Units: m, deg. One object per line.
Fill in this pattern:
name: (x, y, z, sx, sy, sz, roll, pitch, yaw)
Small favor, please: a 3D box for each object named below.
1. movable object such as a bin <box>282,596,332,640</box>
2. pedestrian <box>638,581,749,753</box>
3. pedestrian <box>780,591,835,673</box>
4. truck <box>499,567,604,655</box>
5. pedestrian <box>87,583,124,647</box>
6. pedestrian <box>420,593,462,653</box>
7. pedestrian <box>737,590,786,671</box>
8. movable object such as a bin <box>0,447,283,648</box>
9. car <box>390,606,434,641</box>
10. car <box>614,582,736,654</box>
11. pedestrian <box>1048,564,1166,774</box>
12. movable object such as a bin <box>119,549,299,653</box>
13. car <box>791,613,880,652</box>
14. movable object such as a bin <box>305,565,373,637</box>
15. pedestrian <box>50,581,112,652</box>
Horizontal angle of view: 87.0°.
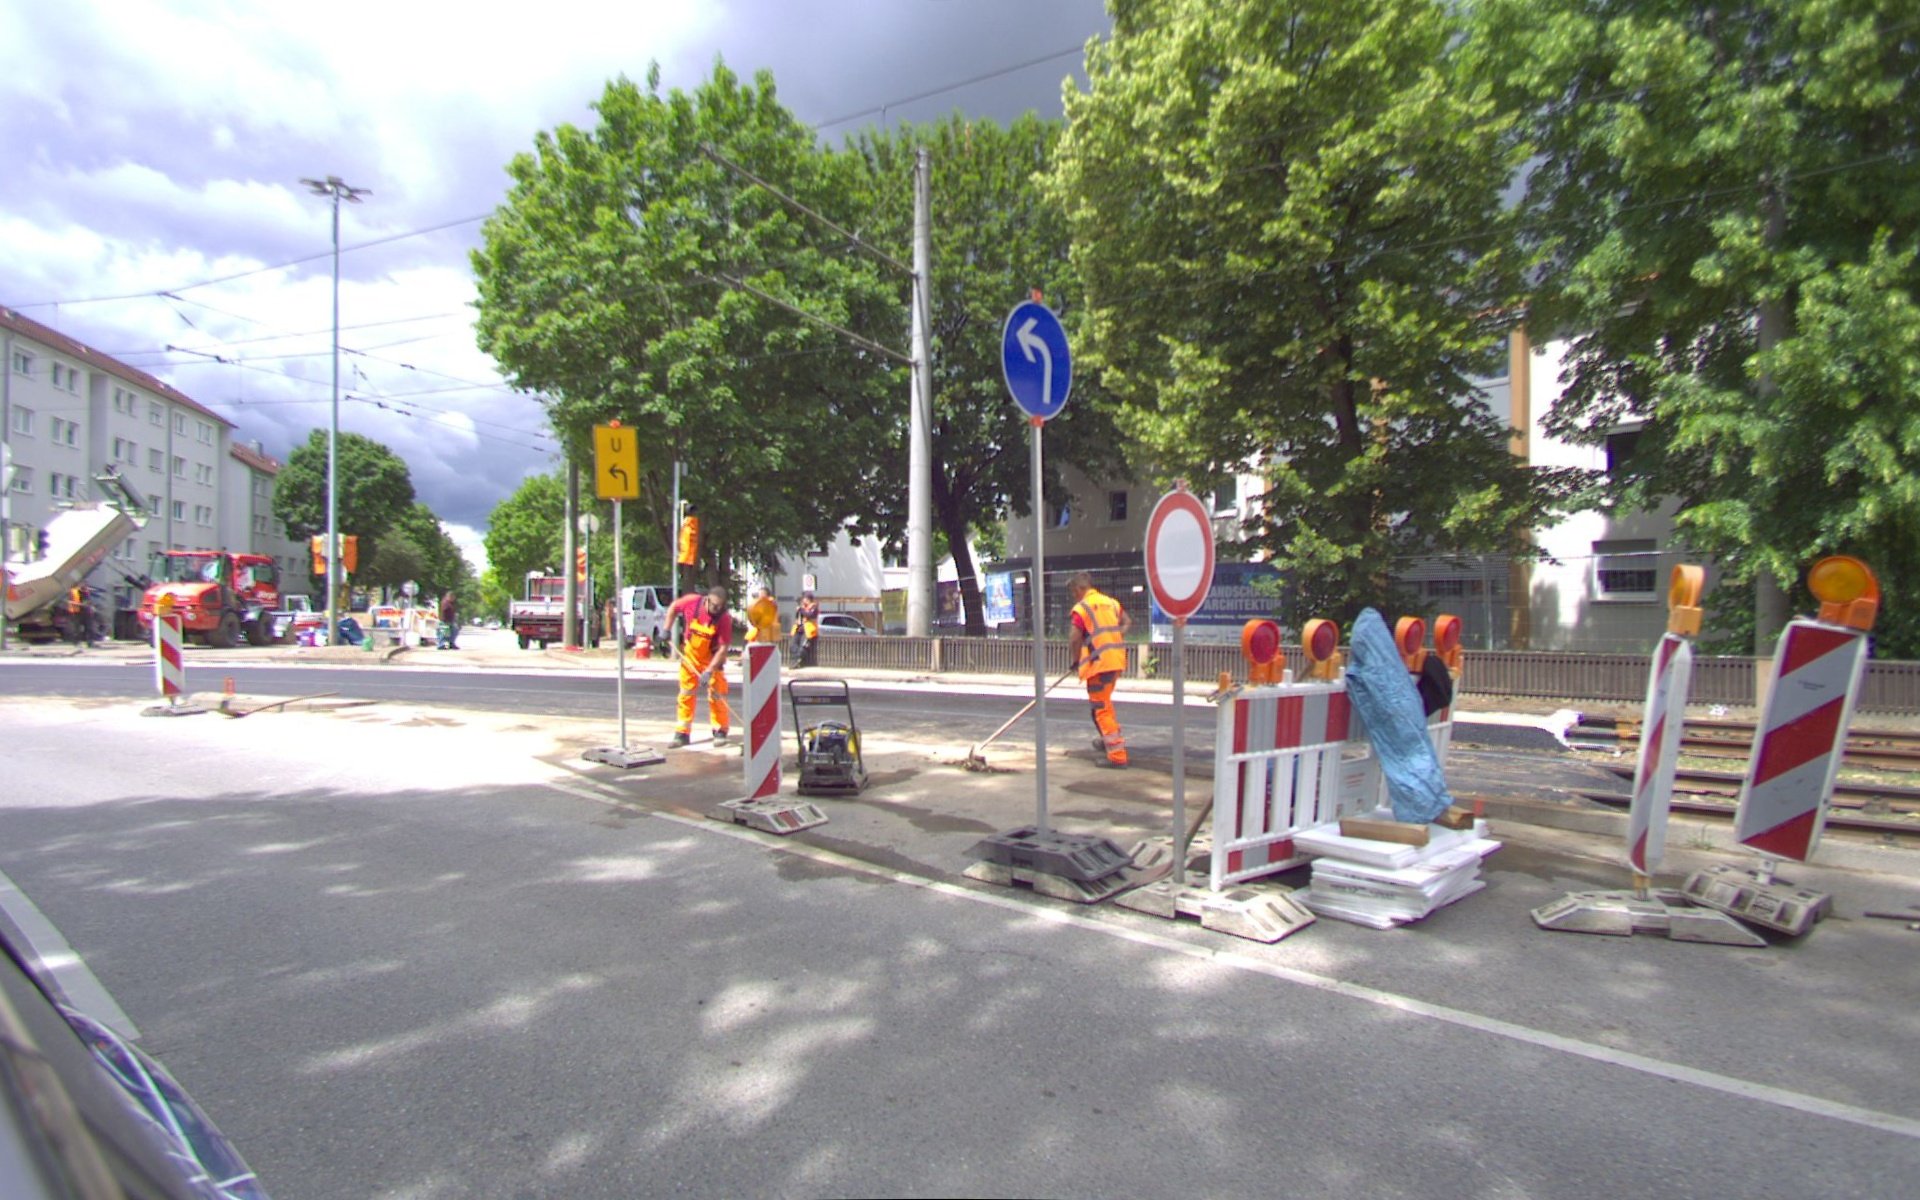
movable object such as a bin: (-37.579, 1.065, 58.331, 1.965, 2.428, 4.013, 1, -2, -27)
pedestrian: (-2.538, 0.615, 9.731, 0.887, 1.563, 0.766, -1, 0, -5)
pedestrian: (-2.948, 0.612, 19.523, 0.827, 1.544, 0.911, 0, -1, -24)
truck: (-13.174, 0.373, 33.044, 2.379, 2.588, 5.598, 0, -1, -13)
pedestrian: (-24.537, 0.420, 29.067, 0.602, 1.802, 0.583, -1, -1, -15)
pedestrian: (-14.781, 0.648, 28.832, 0.860, 1.672, 0.931, -1, -1, -13)
pedestrian: (-3.903, 0.596, 19.885, 0.784, 1.552, 0.765, 0, -1, -24)
movable object such as a bin: (-26.600, -1.322, 32.357, 2.790, 5.527, 9.008, 0, -2, 10)
car: (-32.686, 1.415, 60.526, 1.965, 2.029, 5.928, 1, -2, -25)
car: (-8.409, 0.533, 29.513, 1.966, 1.901, 5.265, 1, -1, -33)
pedestrian: (1.266, 0.551, 8.655, 0.822, 1.680, 0.701, 2, 1, 22)
movable object such as a bin: (-21.495, 0.037, 29.310, 2.081, 2.689, 5.602, 1, 0, -13)
car: (-4.929, 1.290, 40.185, 3.149, 1.466, 1.569, 1, -2, -32)
movable object such as a bin: (-40.914, 0.148, 66.863, 2.777, 4.570, 6.229, 1, -2, -22)
pedestrian: (-23.204, 0.422, 26.725, 0.959, 1.846, 0.795, 1, 0, 6)
